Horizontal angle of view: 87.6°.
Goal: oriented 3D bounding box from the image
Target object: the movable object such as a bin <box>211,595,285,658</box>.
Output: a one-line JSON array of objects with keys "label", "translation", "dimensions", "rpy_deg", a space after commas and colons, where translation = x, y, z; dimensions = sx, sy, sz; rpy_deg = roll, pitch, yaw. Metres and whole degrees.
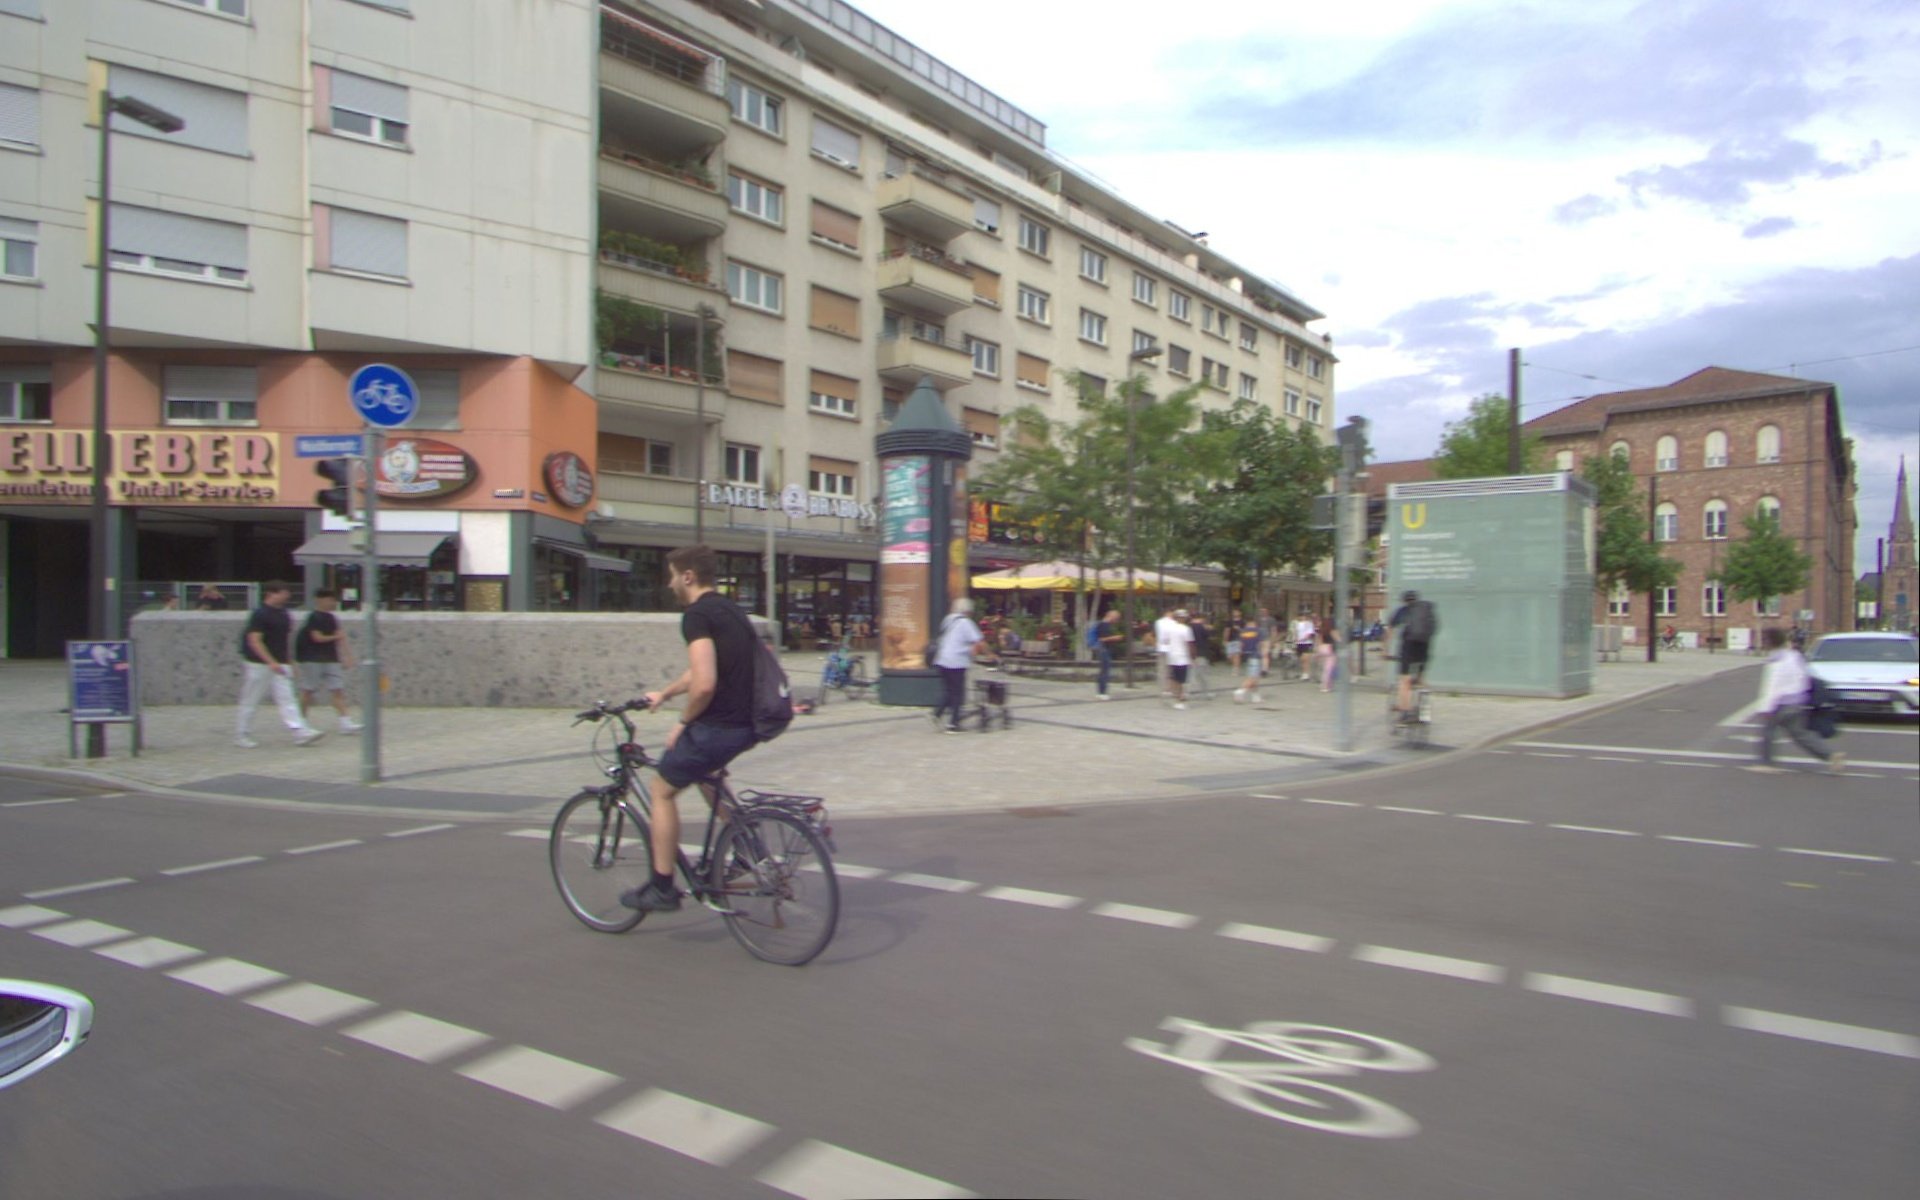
[{"label": "movable object such as a bin", "translation": [-17.911, 0.662, 25.229], "dimensions": [1.145, 1.535, 1.005], "rpy_deg": [1, 0, -2]}]

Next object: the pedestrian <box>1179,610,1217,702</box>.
[{"label": "pedestrian", "translation": [4.613, 1.072, 19.410], "dimensions": [0.410, 1.760, 0.695], "rpy_deg": [1, 0, 43]}]

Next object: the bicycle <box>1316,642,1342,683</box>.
[{"label": "bicycle", "translation": [9.344, 1.562, 25.313], "dimensions": [0.286, 1.009, 1.132], "rpy_deg": [0, -1, 38]}]

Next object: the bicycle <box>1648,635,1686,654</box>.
[{"label": "bicycle", "translation": [45.415, 2.865, 64.303], "dimensions": [1.952, 1.180, 0.418], "rpy_deg": [0, 0, 43]}]

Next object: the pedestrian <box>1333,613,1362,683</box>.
[{"label": "pedestrian", "translation": [9.684, 1.192, 25.030], "dimensions": [0.473, 1.727, 0.635], "rpy_deg": [2, 1, 39]}]

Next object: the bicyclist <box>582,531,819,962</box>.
[{"label": "bicyclist", "translation": [-1.149, 0.594, 4.466], "dimensions": [0.848, 1.732, 0.558], "rpy_deg": [1, 0, 26]}]

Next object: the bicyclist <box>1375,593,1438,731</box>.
[{"label": "bicyclist", "translation": [5.829, 0.789, 13.108], "dimensions": [0.687, 1.732, 0.906], "rpy_deg": [1, 0, 22]}]

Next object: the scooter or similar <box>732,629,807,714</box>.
[{"label": "scooter or similar", "translation": [-2.864, 1.064, 15.048], "dimensions": [1.106, 1.228, 0.286], "rpy_deg": [0, 0, 21]}]

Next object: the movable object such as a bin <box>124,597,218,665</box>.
[{"label": "movable object such as a bin", "translation": [-17.892, 0.693, 22.744], "dimensions": [1.200, 1.479, 1.149], "rpy_deg": [1, 0, -2]}]

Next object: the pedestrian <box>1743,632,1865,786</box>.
[{"label": "pedestrian", "translation": [8.709, 1.102, 10.369], "dimensions": [0.834, 1.520, 0.551], "rpy_deg": [-1, -1, 28]}]

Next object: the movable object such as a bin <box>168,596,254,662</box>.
[{"label": "movable object such as a bin", "translation": [-17.932, 0.686, 24.014], "dimensions": [1.174, 1.535, 1.197], "rpy_deg": [1, 0, -2]}]

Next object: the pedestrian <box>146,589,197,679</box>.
[{"label": "pedestrian", "translation": [-15.098, 0.644, 19.177], "dimensions": [0.578, 1.696, 0.473], "rpy_deg": [1, 2, 0]}]

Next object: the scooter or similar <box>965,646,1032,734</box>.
[{"label": "scooter or similar", "translation": [0.528, 1.208, 13.669], "dimensions": [0.693, 1.125, 0.604], "rpy_deg": [0, 1, -34]}]

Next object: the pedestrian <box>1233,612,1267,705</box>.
[{"label": "pedestrian", "translation": [5.609, 1.116, 19.362], "dimensions": [0.410, 1.760, 0.590], "rpy_deg": [1, 0, 43]}]

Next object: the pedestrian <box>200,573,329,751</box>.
[{"label": "pedestrian", "translation": [-8.047, 0.693, 11.635], "dimensions": [0.994, 1.998, 0.720], "rpy_deg": [1, 2, -7]}]

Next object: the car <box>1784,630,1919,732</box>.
[{"label": "car", "translation": [15.742, 1.291, 17.301], "dimensions": [1.979, 1.531, 4.562], "rpy_deg": [-2, -2, 44]}]

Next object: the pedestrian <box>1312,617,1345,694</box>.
[{"label": "pedestrian", "translation": [8.141, 1.214, 22.102], "dimensions": [0.435, 1.662, 0.672], "rpy_deg": [1, 0, 43]}]

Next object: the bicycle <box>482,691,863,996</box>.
[{"label": "bicycle", "translation": [-1.398, 1.039, 4.676], "dimensions": [1.985, 1.136, 0.405], "rpy_deg": [-1, -1, 28]}]

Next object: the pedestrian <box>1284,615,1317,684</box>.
[{"label": "pedestrian", "translation": [8.735, 1.262, 25.696], "dimensions": [0.577, 1.727, 0.635], "rpy_deg": [2, 1, 39]}]

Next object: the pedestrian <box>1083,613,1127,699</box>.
[{"label": "pedestrian", "translation": [2.748, 1.044, 19.006], "dimensions": [0.410, 1.597, 0.814], "rpy_deg": [1, 0, 45]}]

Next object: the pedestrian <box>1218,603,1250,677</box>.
[{"label": "pedestrian", "translation": [7.183, 1.047, 26.226], "dimensions": [0.577, 1.892, 0.545], "rpy_deg": [2, 1, 39]}]

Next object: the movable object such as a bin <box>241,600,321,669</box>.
[{"label": "movable object such as a bin", "translation": [-15.562, 0.779, 22.990], "dimensions": [1.067, 1.535, 1.147], "rpy_deg": [1, 0, -2]}]

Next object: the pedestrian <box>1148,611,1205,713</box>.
[{"label": "pedestrian", "translation": [3.744, 1.064, 17.273], "dimensions": [0.620, 1.701, 0.800], "rpy_deg": [0, -2, 42]}]

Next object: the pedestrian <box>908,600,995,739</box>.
[{"label": "pedestrian", "translation": [-0.114, 0.893, 13.253], "dimensions": [0.925, 1.763, 0.681], "rpy_deg": [0, 1, -33]}]

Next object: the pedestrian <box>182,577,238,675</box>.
[{"label": "pedestrian", "translation": [-14.940, 0.504, 19.967], "dimensions": [0.578, 1.929, 0.674], "rpy_deg": [1, 2, 0]}]

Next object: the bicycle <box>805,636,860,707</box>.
[{"label": "bicycle", "translation": [-2.178, 1.202, 17.405], "dimensions": [0.534, 1.027, 2.448], "rpy_deg": [1, 1, 3]}]

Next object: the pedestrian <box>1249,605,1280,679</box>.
[{"label": "pedestrian", "translation": [8.009, 1.092, 26.309], "dimensions": [0.577, 1.892, 0.487], "rpy_deg": [2, 1, 39]}]

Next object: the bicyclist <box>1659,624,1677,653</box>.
[{"label": "bicyclist", "translation": [45.440, 2.467, 64.291], "dimensions": [0.852, 1.845, 0.499], "rpy_deg": [1, 0, 44]}]

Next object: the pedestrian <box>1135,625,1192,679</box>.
[{"label": "pedestrian", "translation": [4.916, 1.258, 24.183], "dimensions": [1.025, 1.261, 0.925], "rpy_deg": [4, -3, -44]}]

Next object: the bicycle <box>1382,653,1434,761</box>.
[{"label": "bicycle", "translation": [5.868, 1.353, 13.169], "dimensions": [0.384, 1.138, 1.915], "rpy_deg": [1, 3, 18]}]

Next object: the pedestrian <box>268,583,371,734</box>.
[{"label": "pedestrian", "translation": [-8.008, 0.716, 12.547], "dimensions": [0.869, 1.825, 0.676], "rpy_deg": [1, 2, -7]}]
